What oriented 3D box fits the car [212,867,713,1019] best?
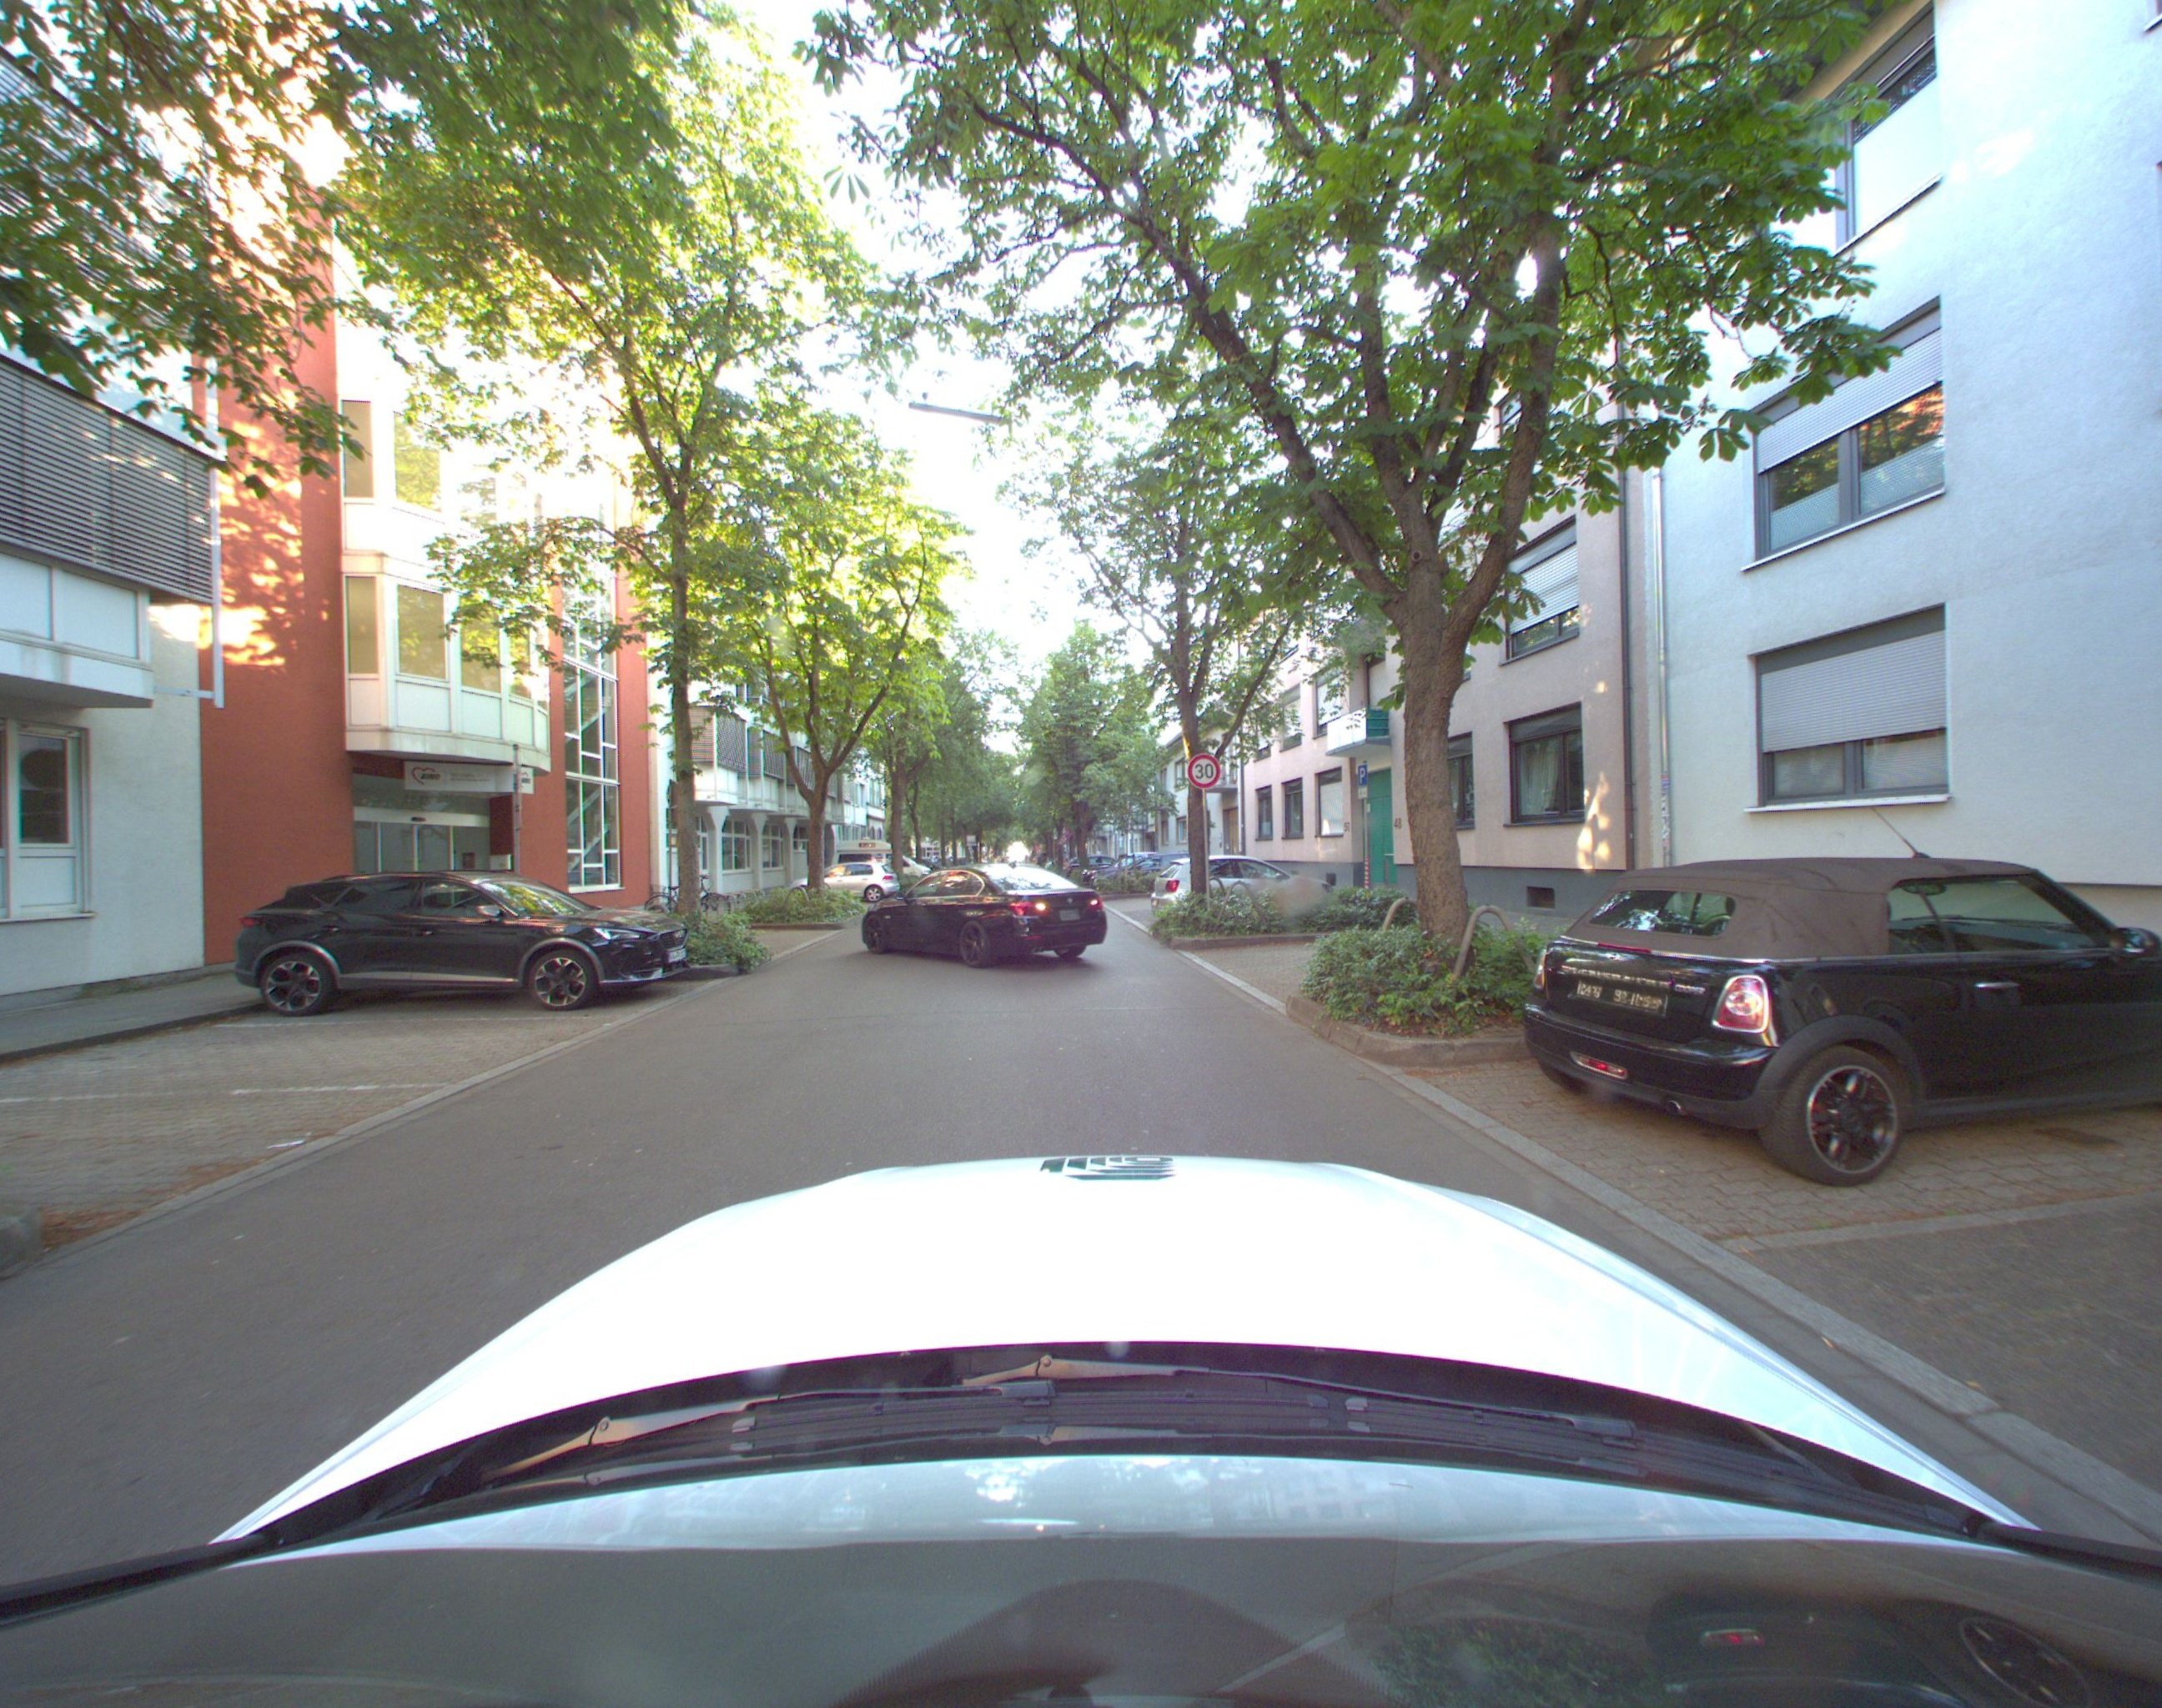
[{"bbox_3d":[-6.936,0.948,9.581,4.349,1.509,1.832,0,0,-5],"label":"car"}]

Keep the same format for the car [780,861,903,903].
[{"bbox_3d":[-8.833,1.010,30.325,4.125,1.471,1.637,0,0,-5],"label":"car"}]

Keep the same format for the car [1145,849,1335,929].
[{"bbox_3d":[3.324,0.706,17.396,3.653,1.479,1.562,-2,0,-7],"label":"car"}]

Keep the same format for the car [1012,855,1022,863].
[{"bbox_3d":[-13.546,1.077,172.127,1.891,1.475,3.995,-1,0,-4],"label":"car"}]

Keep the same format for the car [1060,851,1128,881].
[{"bbox_3d":[0.706,0.693,46.367,3.653,1.536,1.562,-2,0,-7],"label":"car"}]

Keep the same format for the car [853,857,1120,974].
[{"bbox_3d":[-1.660,0.817,12.718,1.778,1.450,4.612,-1,0,-42],"label":"car"}]

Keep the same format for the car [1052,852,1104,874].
[{"bbox_3d":[-0.224,0.656,59.399,3.653,1.393,1.562,-2,0,-7],"label":"car"}]

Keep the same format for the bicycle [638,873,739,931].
[{"bbox_3d":[-8.856,1.064,18.437,1.973,1.199,0.499,-1,0,-16],"label":"bicycle"}]

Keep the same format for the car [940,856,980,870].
[{"bbox_3d":[-12.899,0.949,86.968,4.015,1.471,1.637,0,0,-5],"label":"car"}]

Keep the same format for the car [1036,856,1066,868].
[{"bbox_3d":[-3.829,0.985,102.333,3.653,1.393,1.562,-2,0,-7],"label":"car"}]

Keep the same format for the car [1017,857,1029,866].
[{"bbox_3d":[-10.437,1.376,146.330,1.990,1.552,3.993,-1,0,-5],"label":"car"}]

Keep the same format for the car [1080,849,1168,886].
[{"bbox_3d":[1.949,0.590,37.586,3.788,1.530,1.562,-2,0,-7],"label":"car"}]

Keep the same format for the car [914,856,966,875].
[{"bbox_3d":[-11.431,0.929,66.322,4.015,1.471,1.637,0,0,-5],"label":"car"}]

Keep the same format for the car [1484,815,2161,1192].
[{"bbox_3d":[4.516,0.614,4.619,3.703,1.428,1.622,-4,0,-10],"label":"car"}]

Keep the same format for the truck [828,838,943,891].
[{"bbox_3d":[-9.211,0.458,38.641,4.989,2.441,1.914,0,1,-4],"label":"truck"}]

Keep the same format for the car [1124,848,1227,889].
[{"bbox_3d":[3.582,0.535,31.246,3.653,1.393,1.562,-2,0,-7],"label":"car"}]
